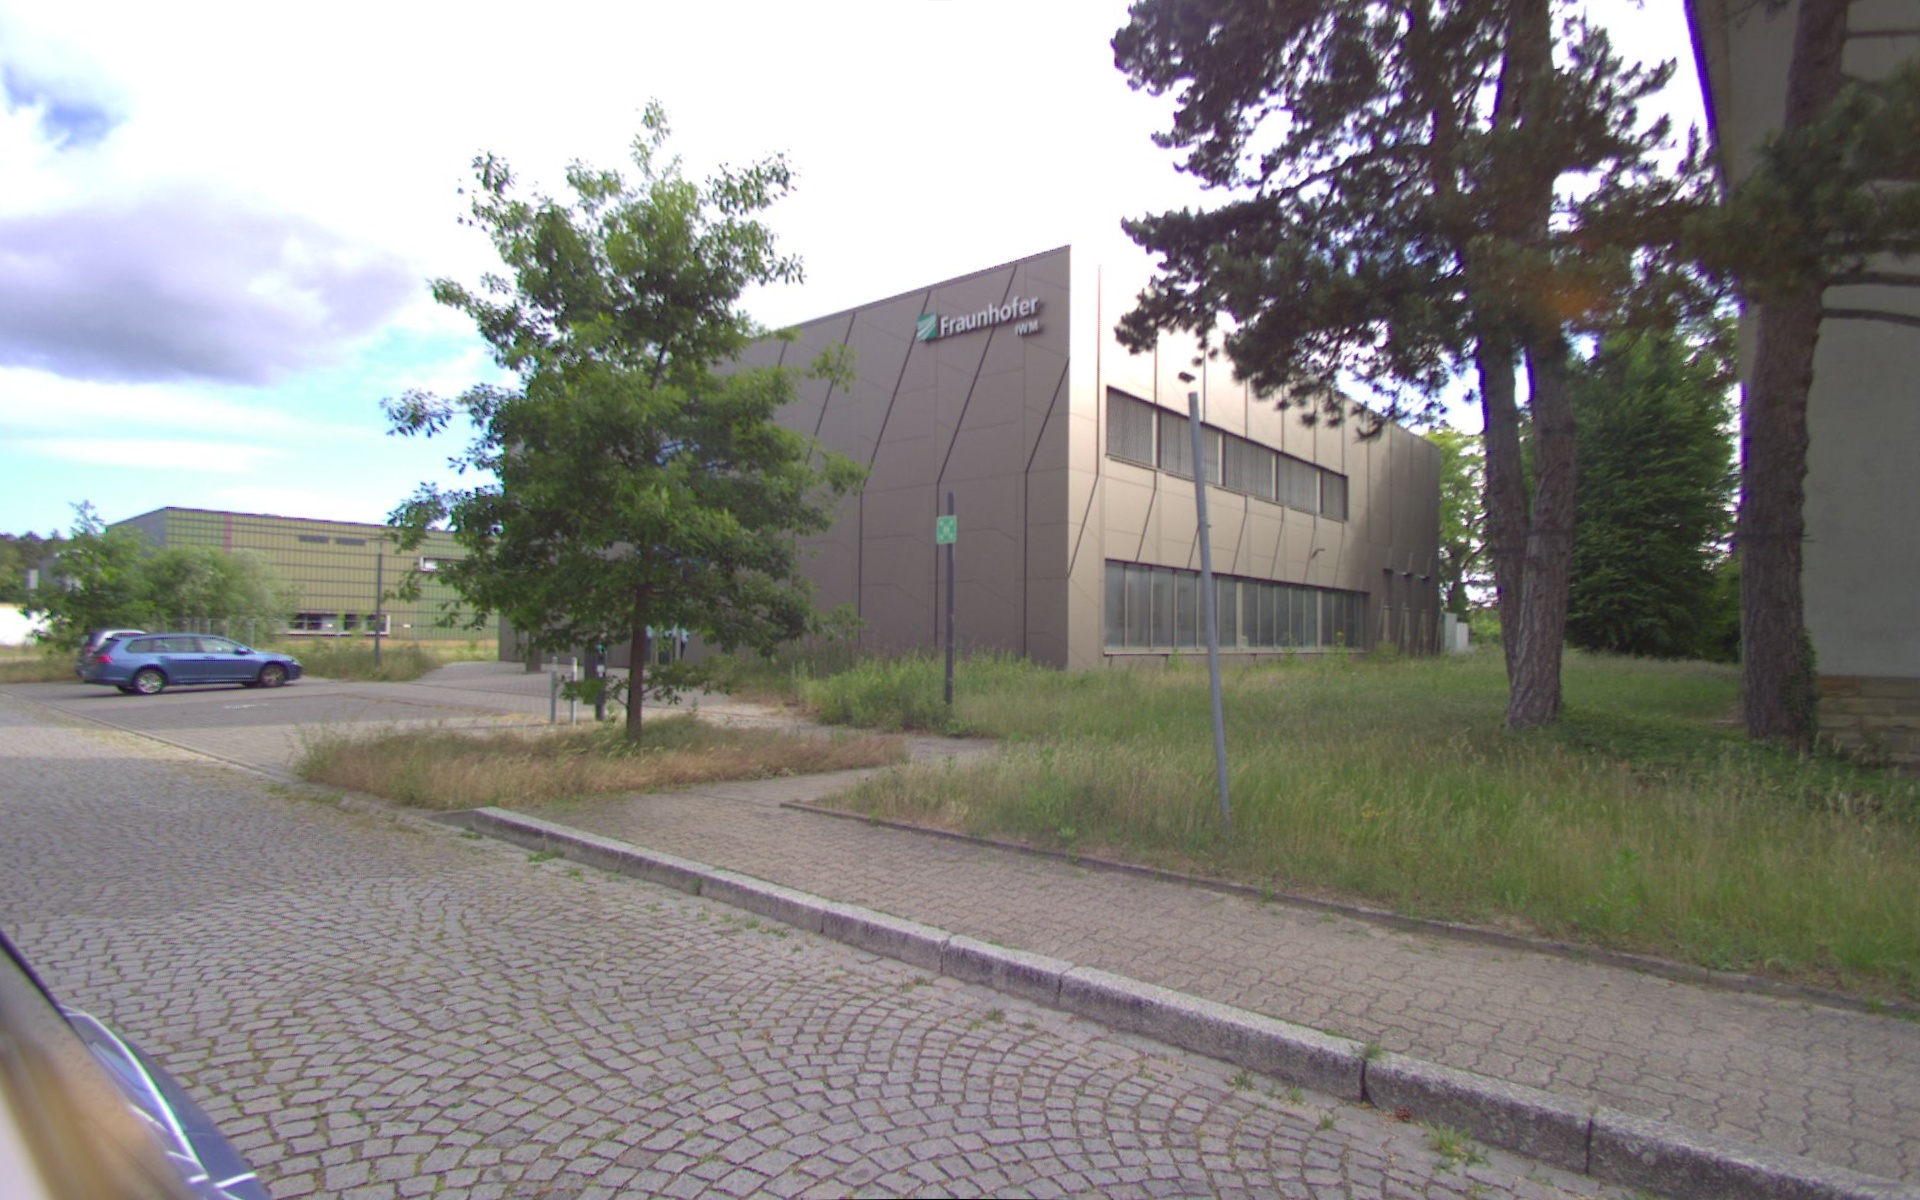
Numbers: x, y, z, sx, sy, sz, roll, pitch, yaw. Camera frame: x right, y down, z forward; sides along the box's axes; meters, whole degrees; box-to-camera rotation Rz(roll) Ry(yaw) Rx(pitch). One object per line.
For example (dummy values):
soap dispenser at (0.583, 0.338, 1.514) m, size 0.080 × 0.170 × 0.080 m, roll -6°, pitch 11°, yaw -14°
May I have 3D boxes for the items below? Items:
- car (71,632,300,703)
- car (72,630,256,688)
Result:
car at (-19.530, 1.627, 25.703) m, size 1.714 × 1.522 × 4.351 m, roll -1°, pitch -1°, yaw 37°
car at (-24.470, 1.753, 31.204) m, size 4.340 × 1.558 × 1.843 m, roll 0°, pitch -1°, yaw -43°
